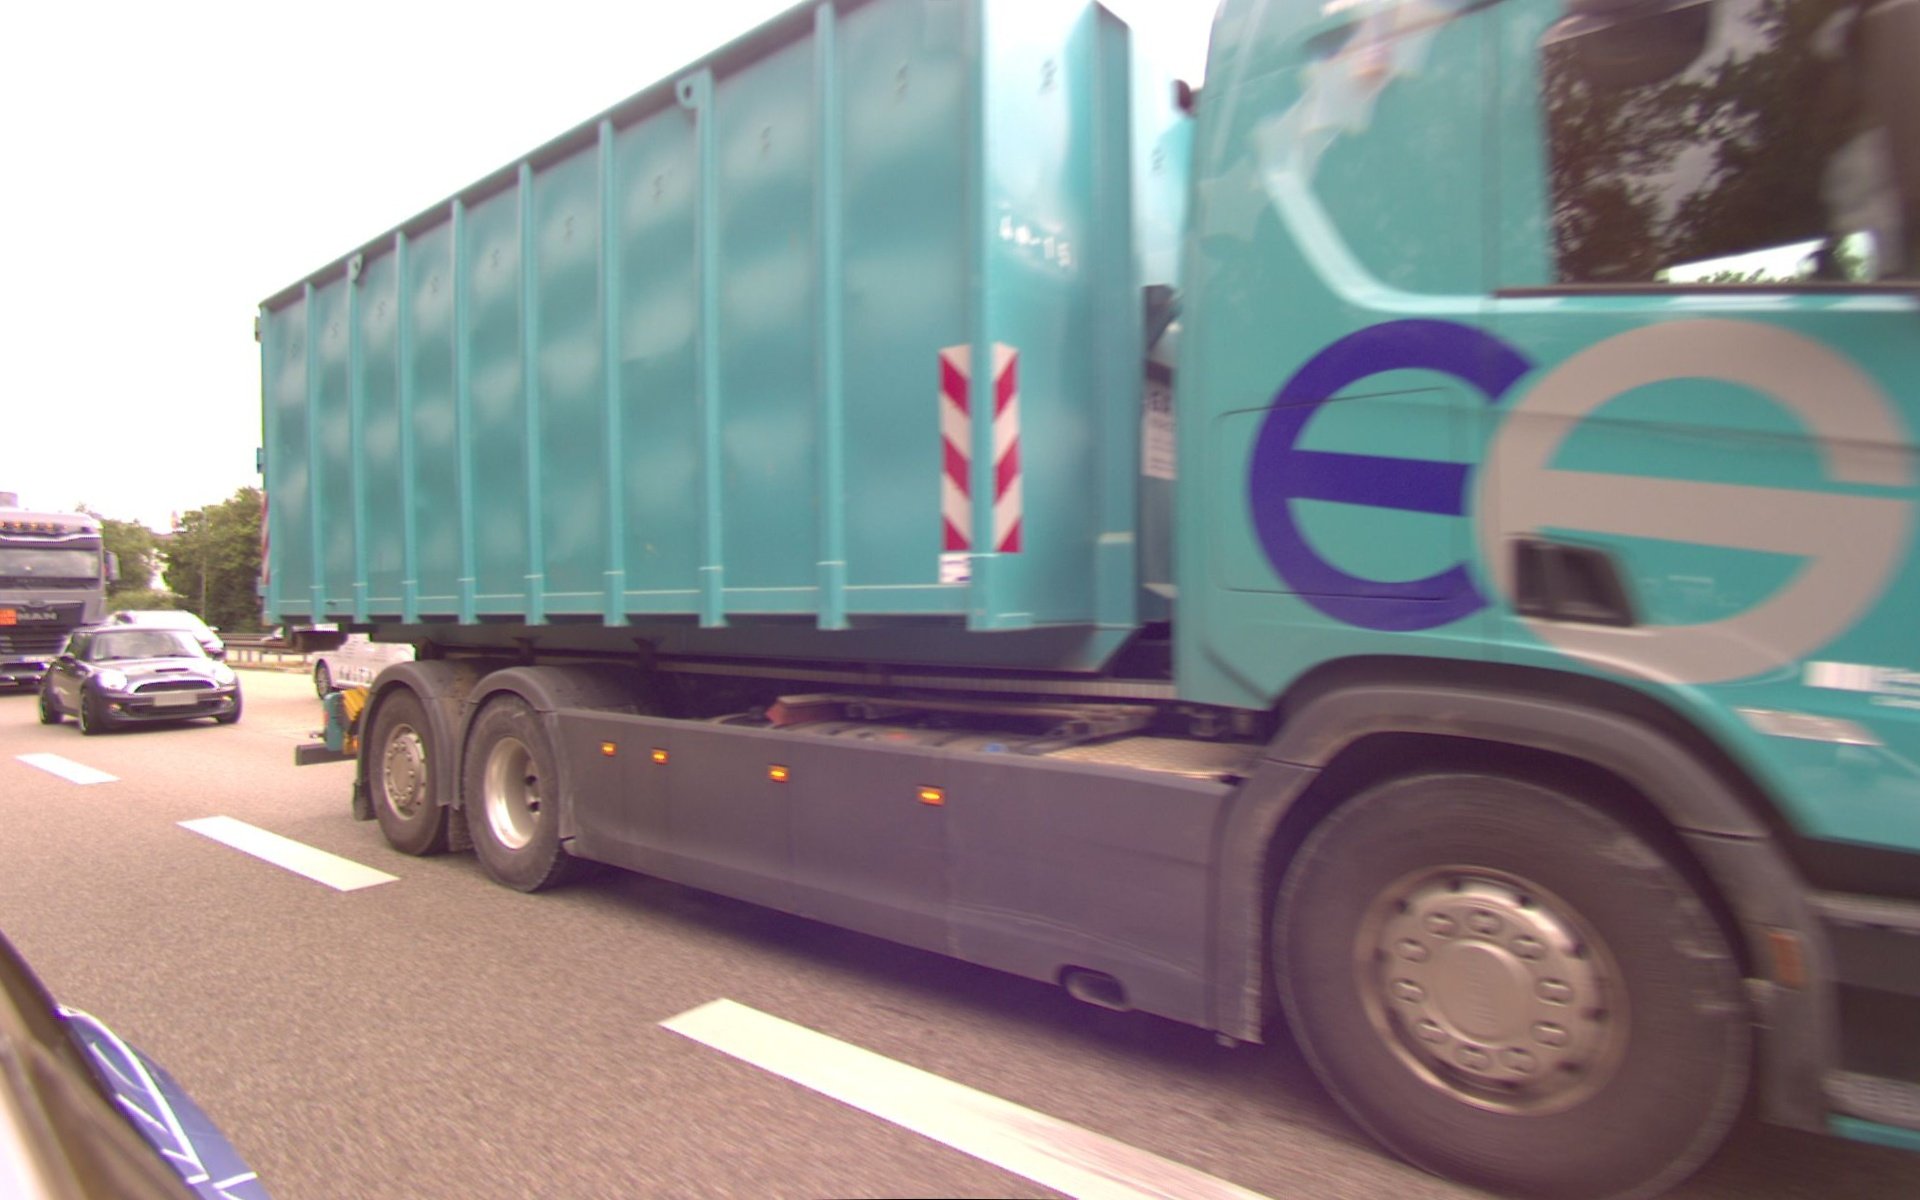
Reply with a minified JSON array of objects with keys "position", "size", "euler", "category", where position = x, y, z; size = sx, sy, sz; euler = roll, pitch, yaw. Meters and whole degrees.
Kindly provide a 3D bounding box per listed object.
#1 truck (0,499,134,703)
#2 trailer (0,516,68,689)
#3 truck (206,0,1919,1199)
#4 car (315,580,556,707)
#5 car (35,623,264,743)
[{"position":[-20.873,0.095,22.074],"size":[6.919,3.937,2.660],"euler":[-1,-2,35],"category":"truck"},{"position":[-26.398,0.154,26.103],"size":[10.963,3.937,2.659],"euler":[-1,-2,36],"category":"trailer"},{"position":[-0.548,-0.618,5.557],"size":[11.315,3.825,2.901],"euler":[-2,-2,38],"category":"truck"},{"position":[-9.112,0.702,17.402],"size":[4.870,1.906,1.833],"euler":[-1,-1,38],"category":"car"},{"position":[-11.291,1.052,14.034],"size":[3.659,1.432,1.730],"euler":[-1,-1,39],"category":"car"}]
